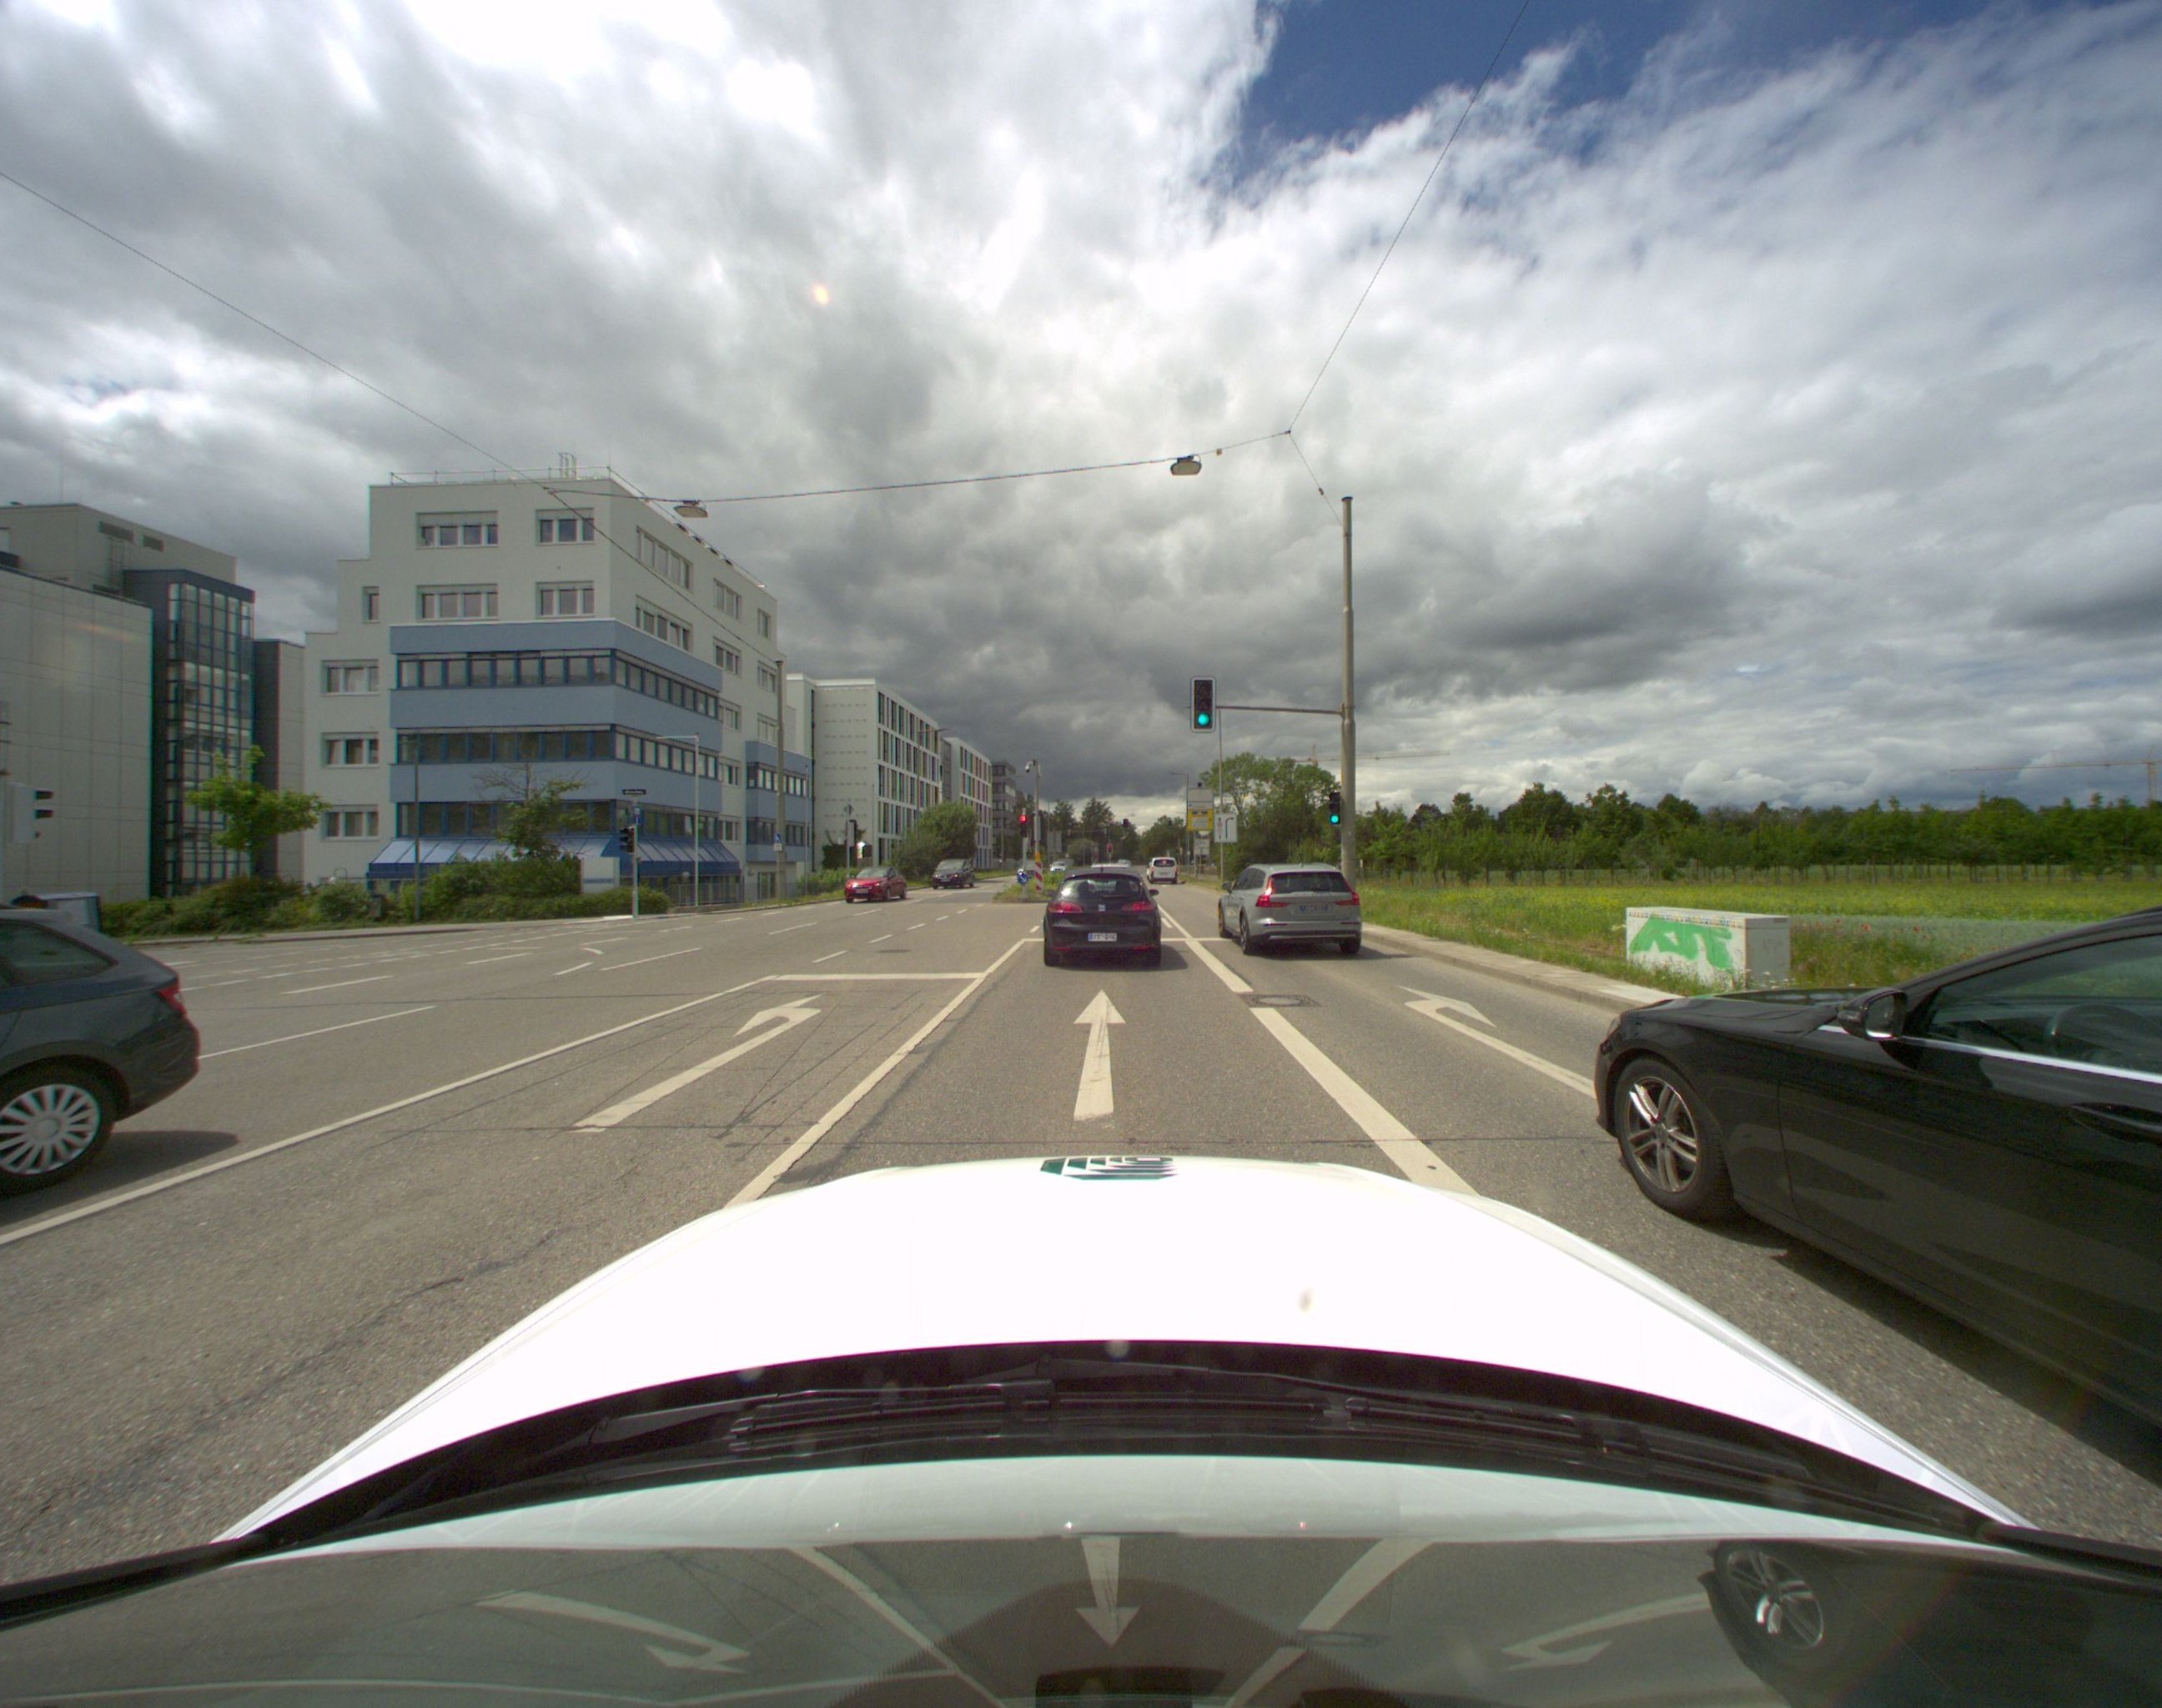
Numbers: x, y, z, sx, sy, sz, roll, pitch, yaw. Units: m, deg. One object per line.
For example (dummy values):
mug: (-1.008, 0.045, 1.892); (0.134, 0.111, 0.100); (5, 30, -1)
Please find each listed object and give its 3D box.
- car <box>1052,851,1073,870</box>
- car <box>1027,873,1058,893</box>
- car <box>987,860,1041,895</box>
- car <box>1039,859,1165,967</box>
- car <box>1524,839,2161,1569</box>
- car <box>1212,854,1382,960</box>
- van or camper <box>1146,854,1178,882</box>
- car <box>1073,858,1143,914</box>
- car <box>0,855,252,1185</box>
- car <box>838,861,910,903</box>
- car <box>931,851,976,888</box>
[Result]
car: (-2.004, 0.734, 88.948); (1.986, 2.014, 4.001); (-1, -1, 2)
car: (-2.794, 2.110, 60.068); (1.986, 1.409, 4.001); (-1, -1, 2)
car: (-3.022, 1.066, 37.428); (1.837, 1.461, 4.060); (-1, -1, 4)
car: (0.477, 0.844, 13.301); (1.739, 1.484, 4.005); (0, -1, 5)
car: (3.258, 0.762, 2.015); (1.831, 1.538, 4.808); (-1, 1, 2)
car: (3.601, 0.844, 14.437); (1.950, 1.525, 4.342); (-2, -1, 2)
van or camper: (5.747, 1.012, 58.022); (1.892, 1.926, 4.000); (-1, -1, 1)
car: (0.818, 0.928, 25.388); (1.976, 1.590, 4.227); (0, 0, 1)
car: (-5.943, 0.837, 2.924); (1.662, 1.524, 4.010); (-3, 1, 2)
car: (-8.504, 1.143, 33.836); (1.768, 1.612, 4.003); (-1, -1, 3)
car: (-7.459, 0.908, 48.017); (1.987, 2.014, 4.479); (-1, -1, -1)
